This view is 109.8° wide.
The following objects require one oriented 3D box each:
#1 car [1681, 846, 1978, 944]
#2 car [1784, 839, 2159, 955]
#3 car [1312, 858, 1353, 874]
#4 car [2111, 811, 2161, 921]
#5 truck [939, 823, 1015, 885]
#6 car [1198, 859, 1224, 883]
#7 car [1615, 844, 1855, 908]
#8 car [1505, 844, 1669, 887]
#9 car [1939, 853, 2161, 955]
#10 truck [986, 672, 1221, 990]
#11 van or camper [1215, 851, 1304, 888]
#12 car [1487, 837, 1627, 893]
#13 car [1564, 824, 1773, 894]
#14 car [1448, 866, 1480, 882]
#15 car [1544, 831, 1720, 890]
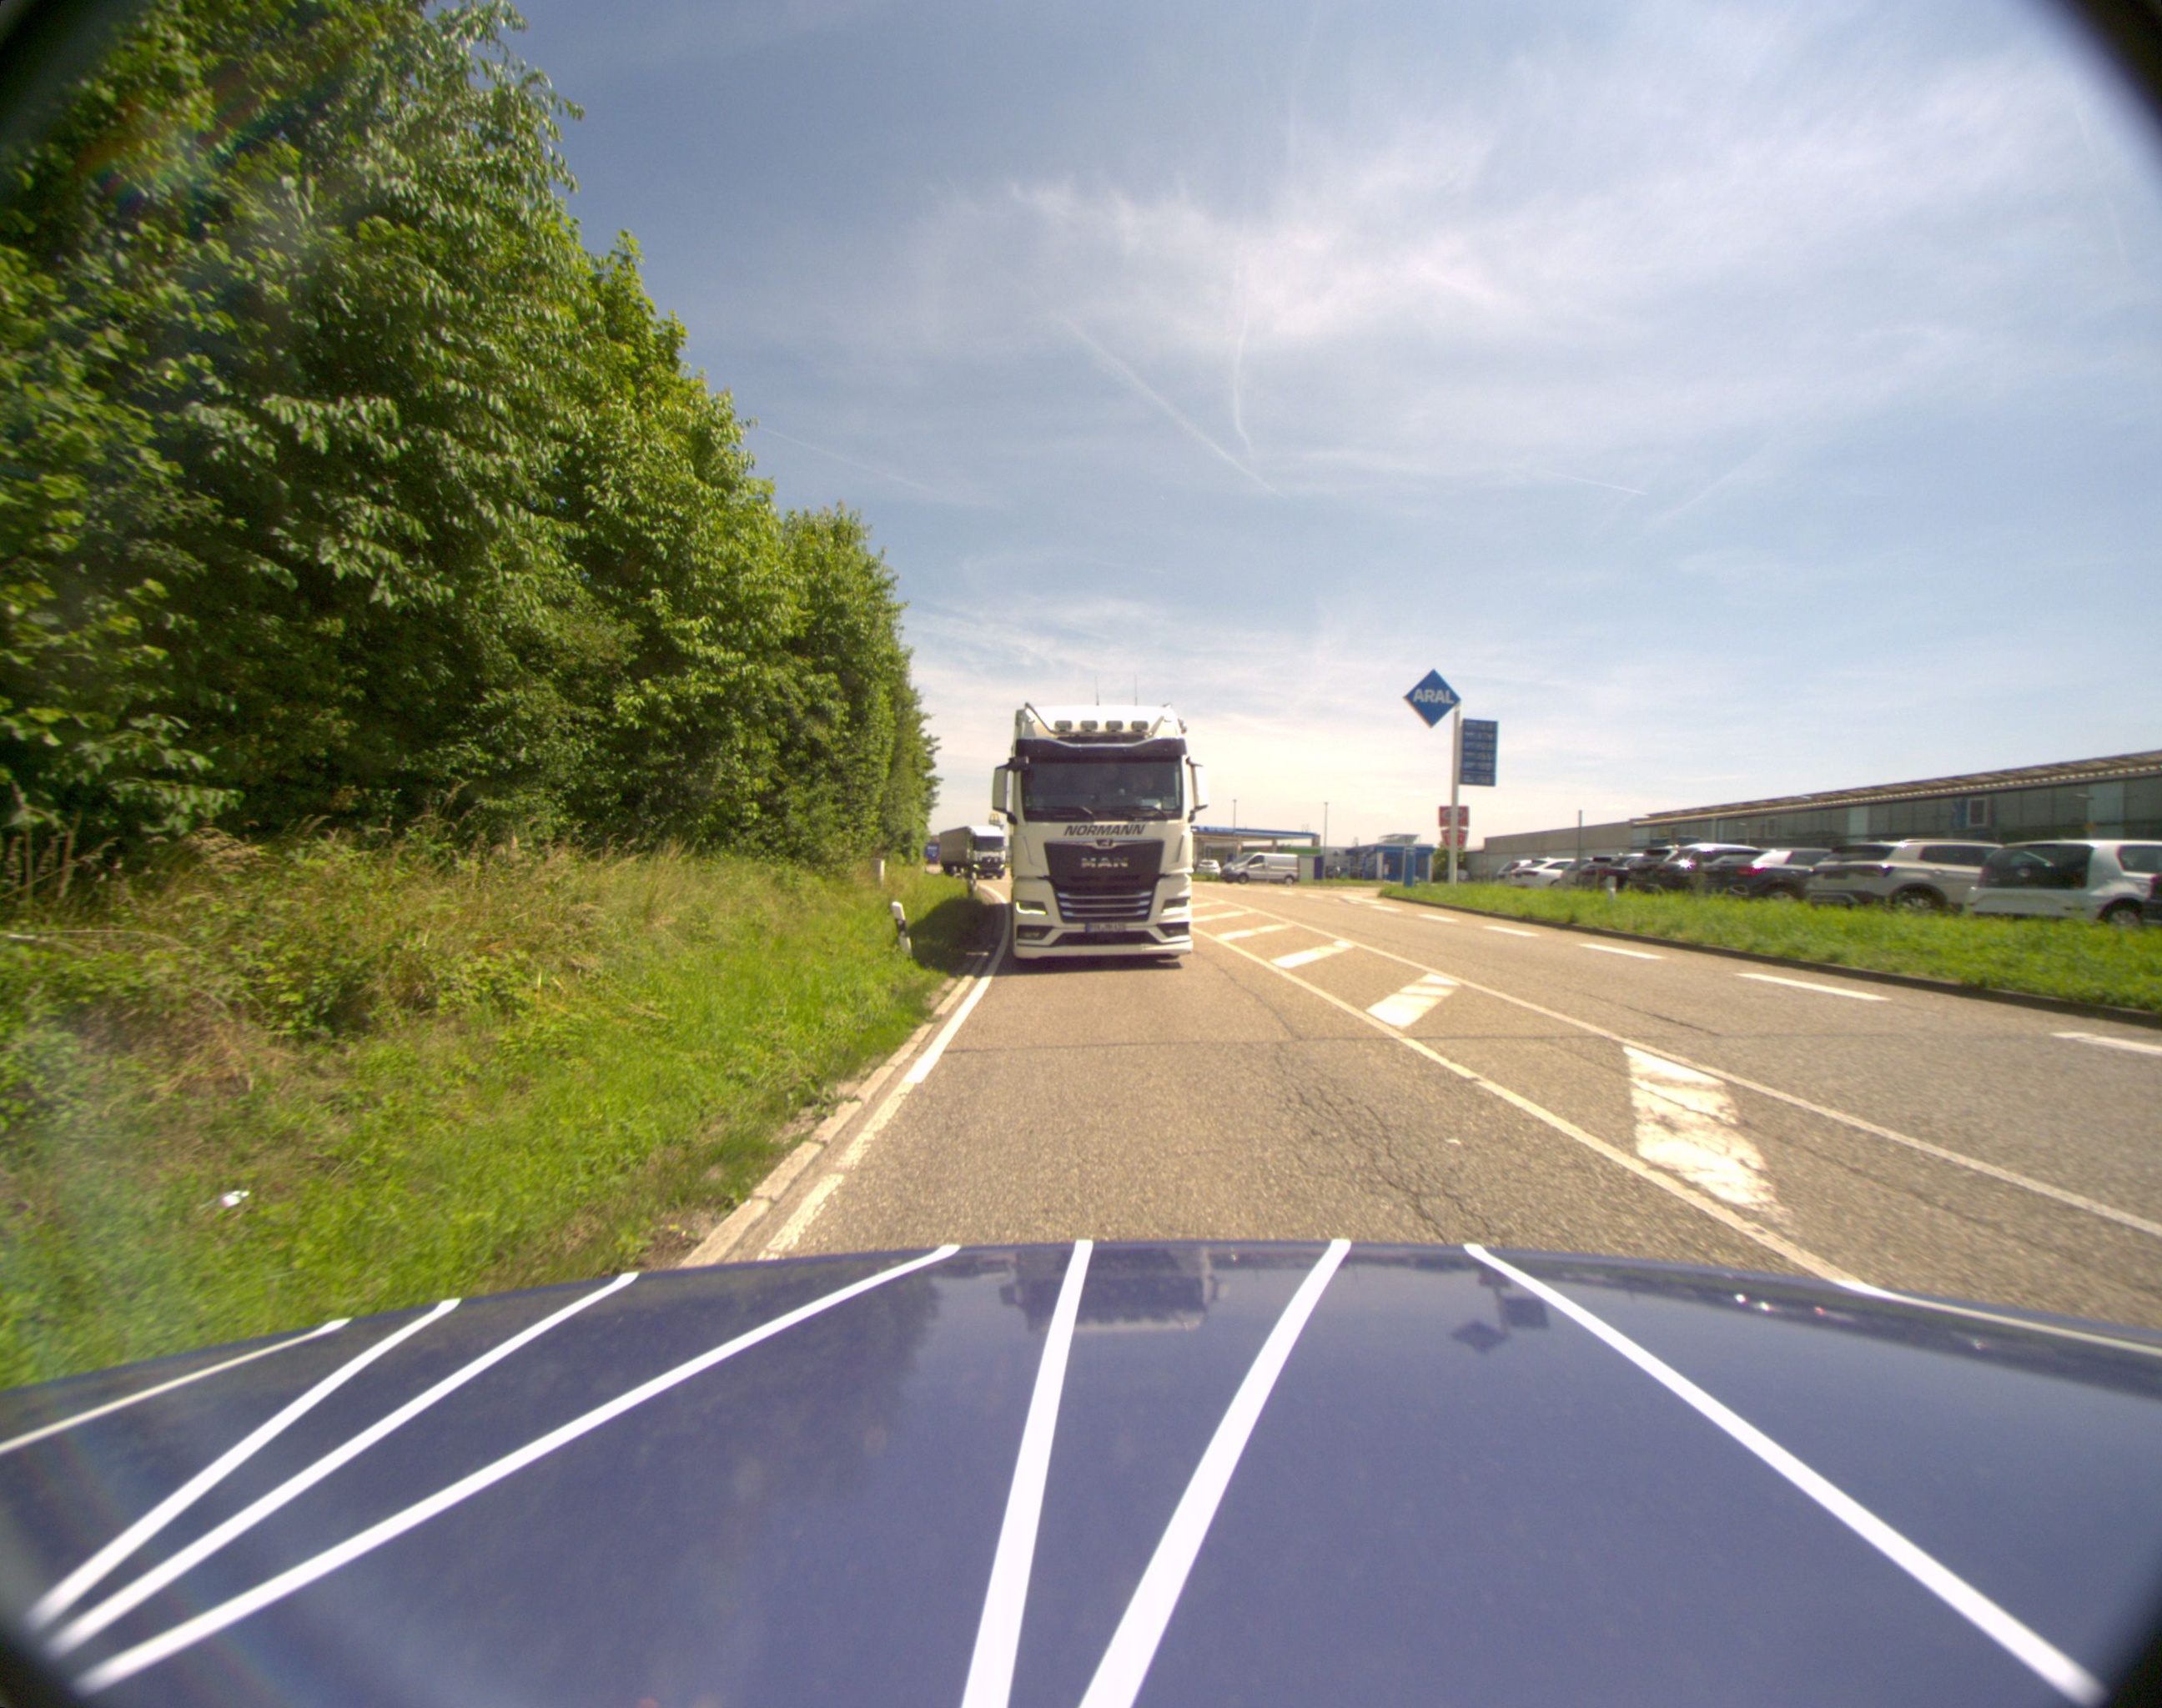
[{"bbox_3d":[15.498,0.803,15.977,3.994,1.739,2.002,2,0,8],"label":"car"},{"bbox_3d":[15.632,0.701,13.607,3.994,1.739,2.002,2,0,8],"label":"car"},{"bbox_3d":[26.178,1.269,79.072,3.992,1.597,1.949,-1,0,17],"label":"car"},{"bbox_3d":[15.237,0.218,8.724,3.995,1.354,1.821,2,0,6],"label":"car"},{"bbox_3d":[-9.059,-0.115,63.578,2.985,4.446,16.422,-2,1,-19],"label":"truck"},{"bbox_3d":[10.640,1.349,61.946,1.865,1.702,4.523,1,1,13],"label":"car"},{"bbox_3d":[15.913,0.509,18.719,3.994,1.324,2.002,2,0,8],"label":"car"},{"bbox_3d":[17.233,0.386,26.089,4.245,1.351,2.001,1,0,7],"label":"car"},{"bbox_3d":[15.500,0.735,10.919,3.995,1.309,1.834,2,0,6],"label":"car"},{"bbox_3d":[-0.421,-0.484,18.653,2.982,4.070,17.622,-1,1,-5],"label":"truck"},{"bbox_3d":[10.839,0.918,46.225,4.867,1.893,1.901,4,-1,-16],"label":"van or camper"},{"bbox_3d":[17.871,0.403,28.717,3.995,2.002,2.001,-1,0,7],"label":"car"},{"bbox_3d":[15.804,0.106,20.682,3.994,1.740,2.001,1,1,9],"label":"car"},{"bbox_3d":[36.035,1.853,71.578,1.757,1.433,3.903,-1,0,12],"label":"car"},{"bbox_3d":[17.197,0.178,23.907,3.994,1.740,1.936,1,1,9],"label":"car"}]
